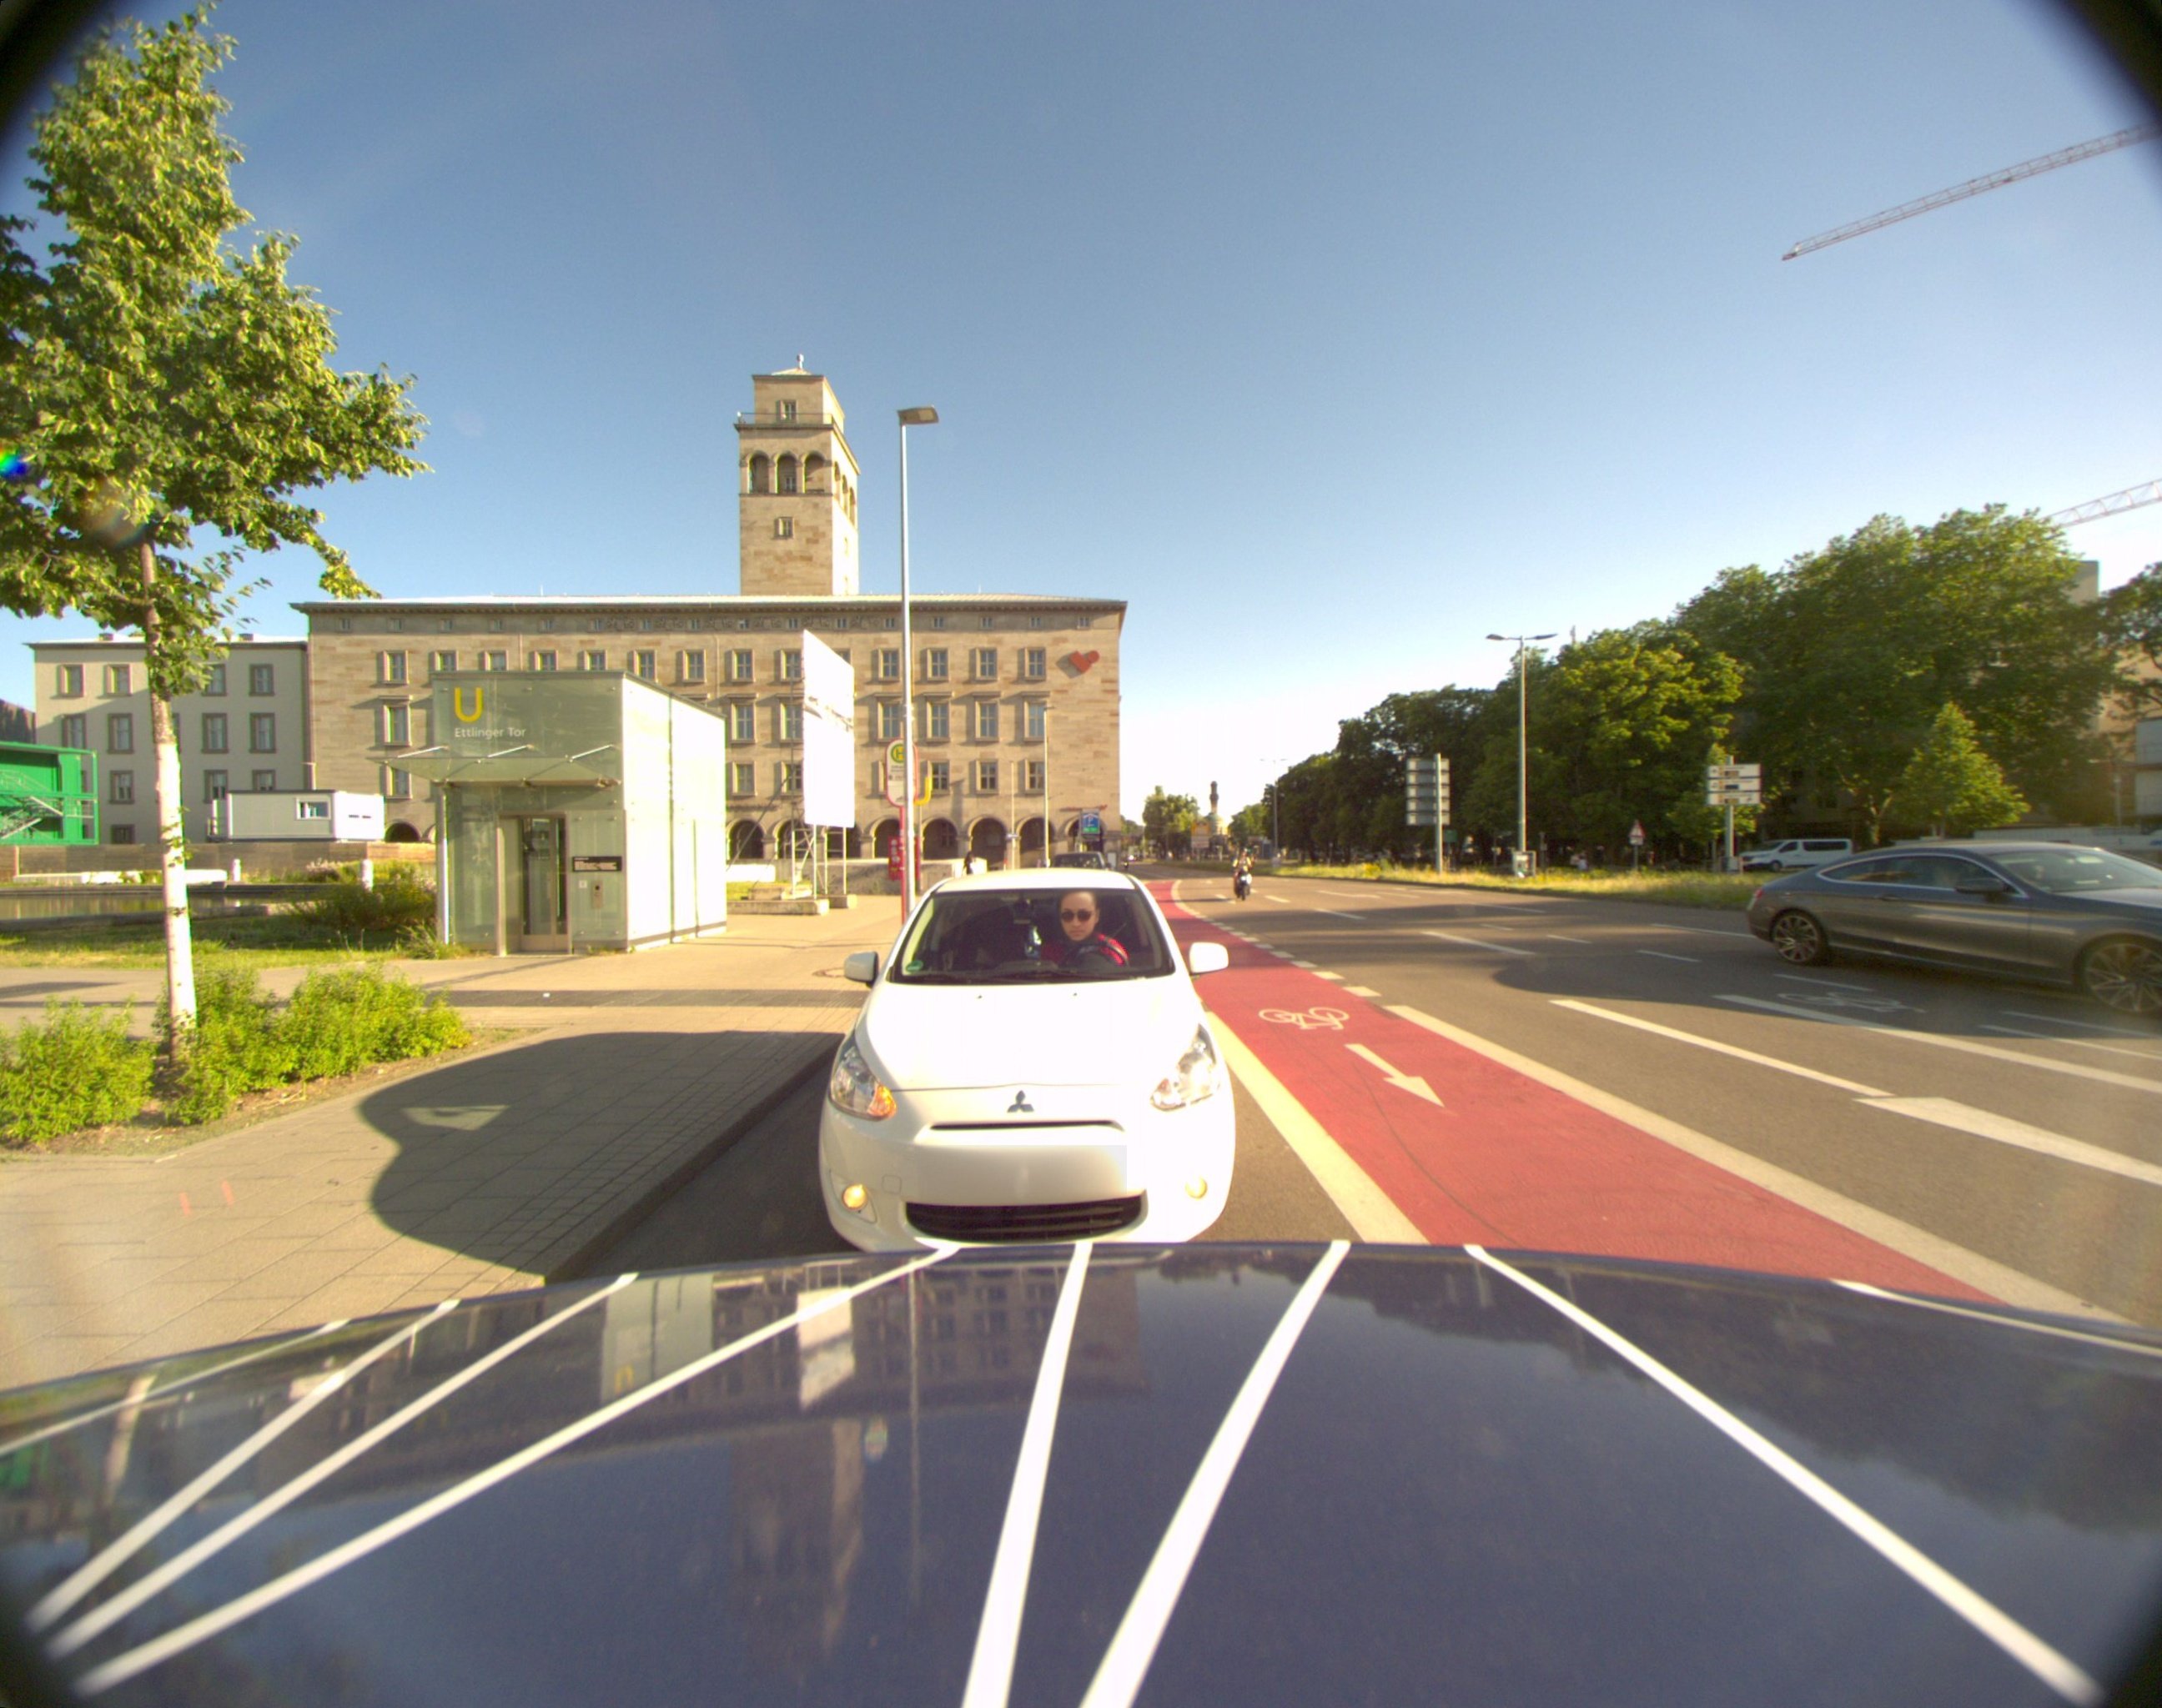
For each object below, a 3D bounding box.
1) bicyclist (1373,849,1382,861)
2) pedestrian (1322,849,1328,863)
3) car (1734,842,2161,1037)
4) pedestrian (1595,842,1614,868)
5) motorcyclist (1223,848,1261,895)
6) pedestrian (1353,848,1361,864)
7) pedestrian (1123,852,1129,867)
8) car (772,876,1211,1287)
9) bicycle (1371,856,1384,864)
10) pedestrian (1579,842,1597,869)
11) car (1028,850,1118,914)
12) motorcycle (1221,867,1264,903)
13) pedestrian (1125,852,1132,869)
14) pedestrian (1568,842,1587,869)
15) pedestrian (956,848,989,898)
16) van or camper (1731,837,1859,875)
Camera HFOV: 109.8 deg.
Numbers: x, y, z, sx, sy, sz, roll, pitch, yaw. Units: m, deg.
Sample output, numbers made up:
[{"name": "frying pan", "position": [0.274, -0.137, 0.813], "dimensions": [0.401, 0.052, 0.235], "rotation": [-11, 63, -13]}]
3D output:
[{"name": "bicyclist", "position": [32.112, 0.130, 82.313], "dimensions": [0.610, 1.274, 0.715], "rotation": [-1, 1, -1]}, {"name": "pedestrian", "position": [32.513, 0.214, 101.327], "dimensions": [0.568, 1.837, 0.734], "rotation": [-1, 1, -1]}, {"name": "car", "position": [9.131, 0.632, 7.224], "dimensions": [1.998, 1.398, 4.488], "rotation": [-2, 0, 1]}, {"name": "pedestrian", "position": [33.959, 0.065, 49.274], "dimensions": [0.707, 1.715, 0.762], "rotation": [-1, 1, 2]}, {"name": "motorcyclist", "position": [5.065, 0.540, 23.949], "dimensions": [0.974, 1.405, 1.059], "rotation": [-2, 1, 4]}, {"name": "pedestrian", "position": [32.252, 0.251, 88.818], "dimensions": [0.628, 1.837, 0.925], "rotation": [-1, 1, -1]}, {"name": "pedestrian", "position": [5.518, 0.632, 92.876], "dimensions": [0.704, 1.843, 0.828], "rotation": [-1, 1, 0]}, {"name": "car", "position": [-0.205, 0.958, 4.903], "dimensions": [1.678, 1.440, 3.890], "rotation": [-2, 0, 5]}, {"name": "bicycle", "position": [32.116, 0.600, 82.321], "dimensions": [0.610, 0.838, 1.745], "rotation": [-1, 0, -1]}, {"name": "pedestrian", "position": [32.866, 0.078, 49.276], "dimensions": [0.665, 1.715, 0.762], "rotation": [-1, 1, 1]}, {"name": "car", "position": [-0.117, 0.742, 22.496], "dimensions": [1.997, 1.709, 4.328], "rotation": [-1, 0, 8]}, {"name": "motorcycle", "position": [5.082, 0.950, 24.052], "dimensions": [0.974, 1.008, 2.267], "rotation": [-2, 0, 4]}, {"name": "pedestrian", "position": [5.354, 0.713, 86.264], "dimensions": [0.704, 1.843, 0.828], "rotation": [-1, 1, 0]}, {"name": "pedestrian", "position": [32.071, 0.089, 49.098], "dimensions": [0.707, 1.715, 0.762], "rotation": [-1, 1, 1]}, {"name": "pedestrian", "position": [-4.014, 0.678, 28.178], "dimensions": [0.942, 1.776, 1.072], "rotation": [-3, 1, 1]}, {"name": "van or camper", "position": [42.302, 0.109, 45.087], "dimensions": [5.649, 2.002, 1.948], "rotation": [-2, 1, 2]}]
